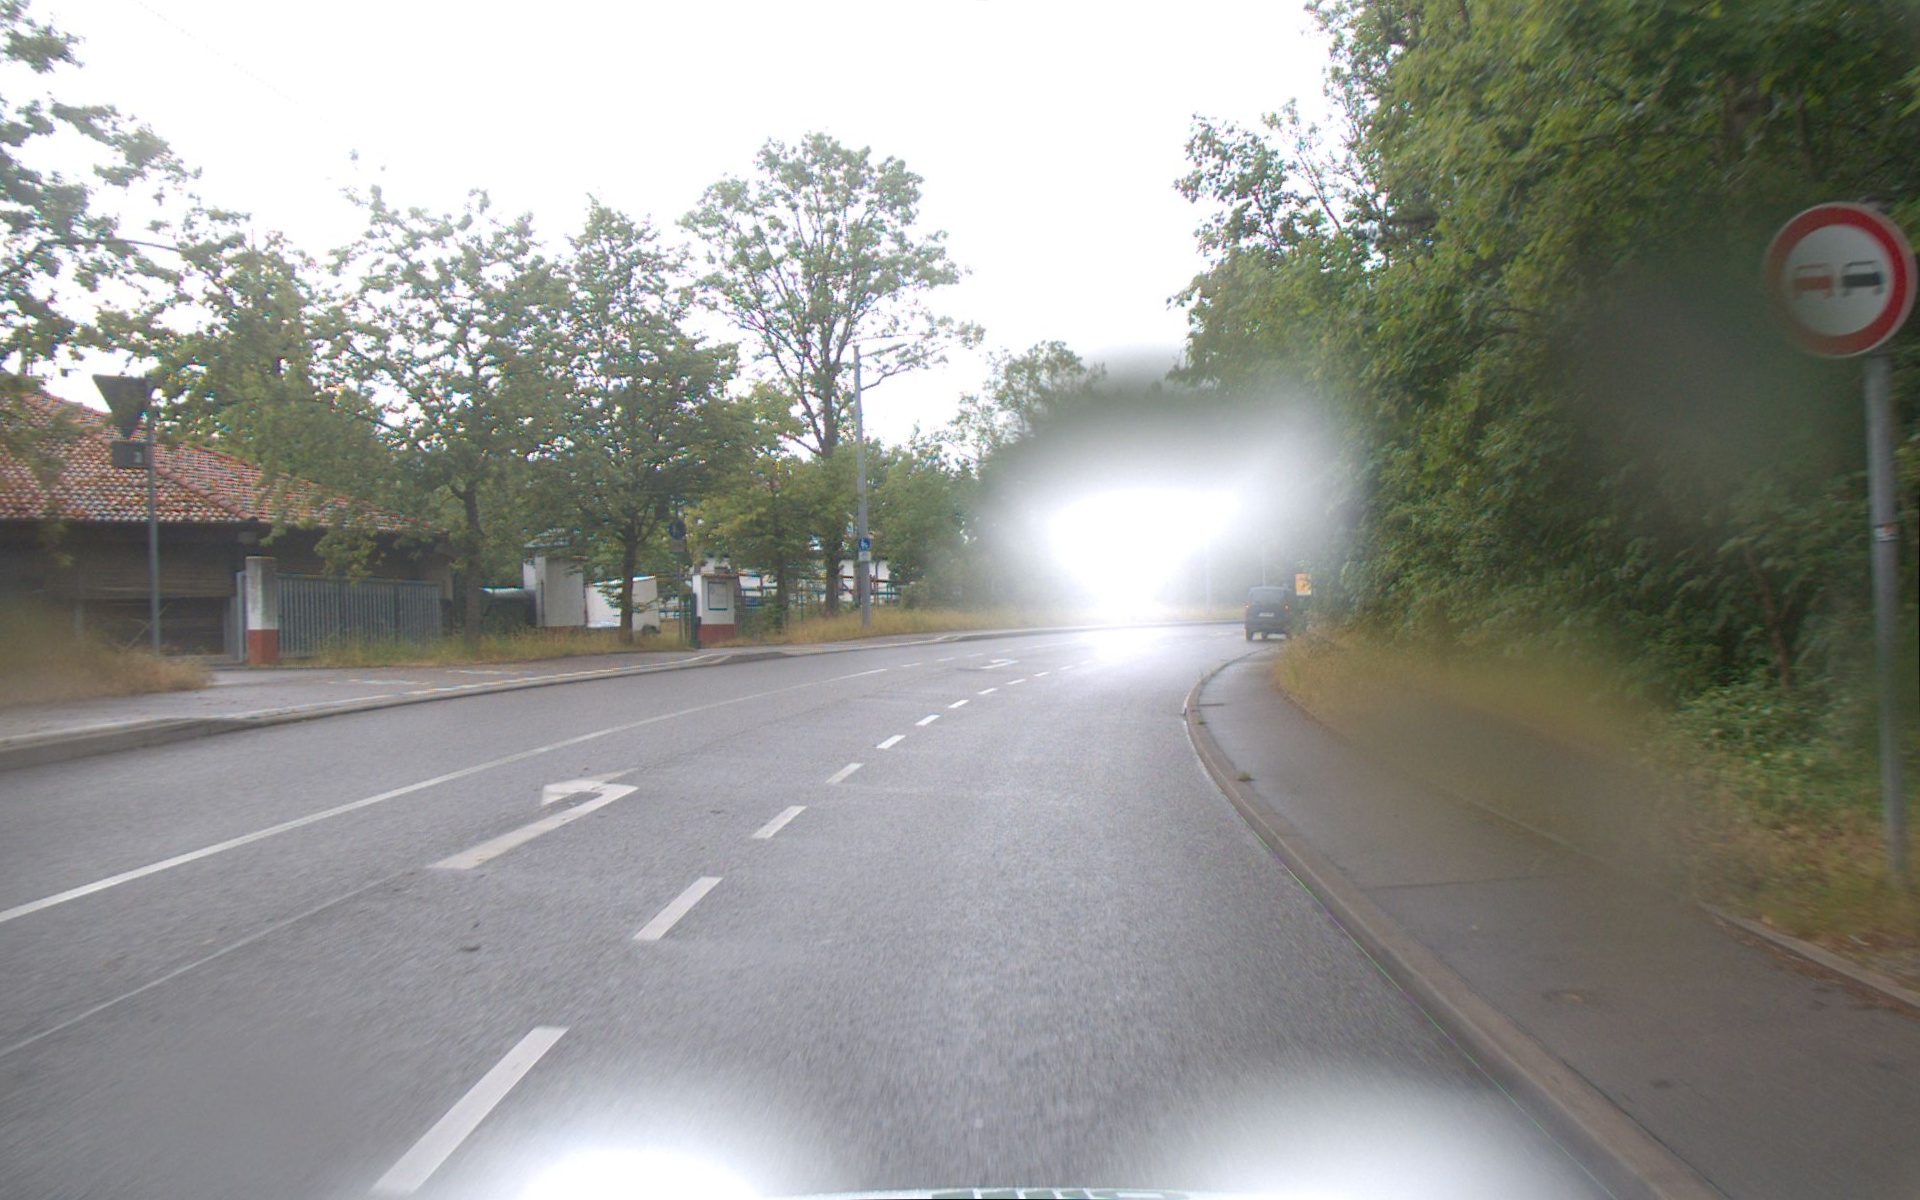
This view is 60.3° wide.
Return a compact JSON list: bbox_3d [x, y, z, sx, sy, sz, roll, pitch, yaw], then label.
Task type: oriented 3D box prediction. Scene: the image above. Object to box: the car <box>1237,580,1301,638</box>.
[{"bbox_3d":[11.002,0.310,58.642,1.789,1.825,4.003,-5,-1,15],"label":"car"}]
